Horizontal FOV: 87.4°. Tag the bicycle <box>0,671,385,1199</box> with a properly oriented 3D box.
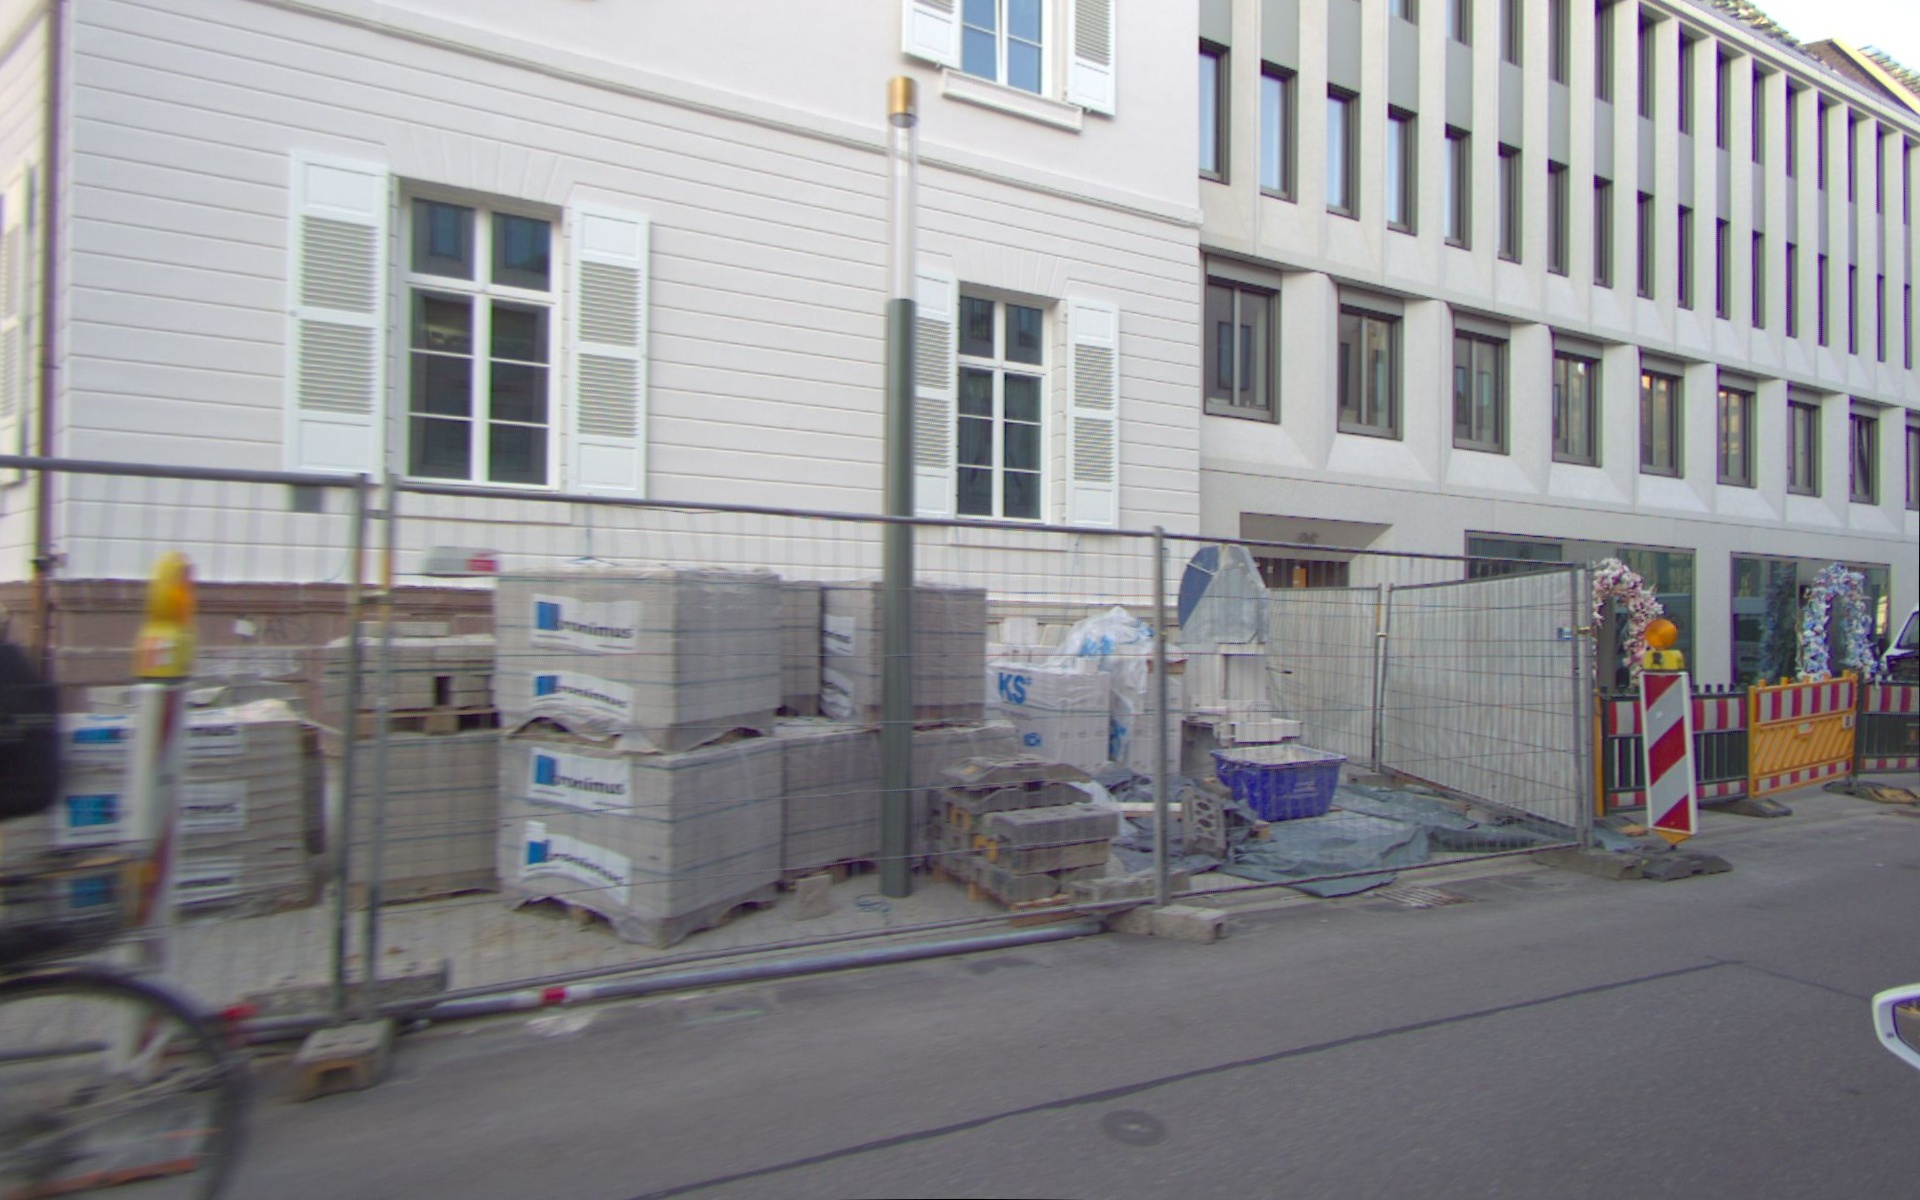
[{"bbox_3d":[-2.301,0.777,1.769,2.207,1.233,0.792,1,-1,-30],"label":"bicycle"}]

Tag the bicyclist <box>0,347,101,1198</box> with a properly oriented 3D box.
[{"bbox_3d":[-2.263,0.321,1.775,0.962,1.552,0.793,1,-1,-30],"label":"bicyclist"}]

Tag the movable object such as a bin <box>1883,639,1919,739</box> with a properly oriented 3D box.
[{"bbox_3d":[14.983,1.358,15.396,1.382,1.485,1.035,2,-1,-39],"label":"movable object such as a bin"}]

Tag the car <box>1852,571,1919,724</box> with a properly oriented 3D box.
[{"bbox_3d":[18.430,0.830,17.612,5.921,2.503,2.166,1,-1,-27],"label":"car"}]
